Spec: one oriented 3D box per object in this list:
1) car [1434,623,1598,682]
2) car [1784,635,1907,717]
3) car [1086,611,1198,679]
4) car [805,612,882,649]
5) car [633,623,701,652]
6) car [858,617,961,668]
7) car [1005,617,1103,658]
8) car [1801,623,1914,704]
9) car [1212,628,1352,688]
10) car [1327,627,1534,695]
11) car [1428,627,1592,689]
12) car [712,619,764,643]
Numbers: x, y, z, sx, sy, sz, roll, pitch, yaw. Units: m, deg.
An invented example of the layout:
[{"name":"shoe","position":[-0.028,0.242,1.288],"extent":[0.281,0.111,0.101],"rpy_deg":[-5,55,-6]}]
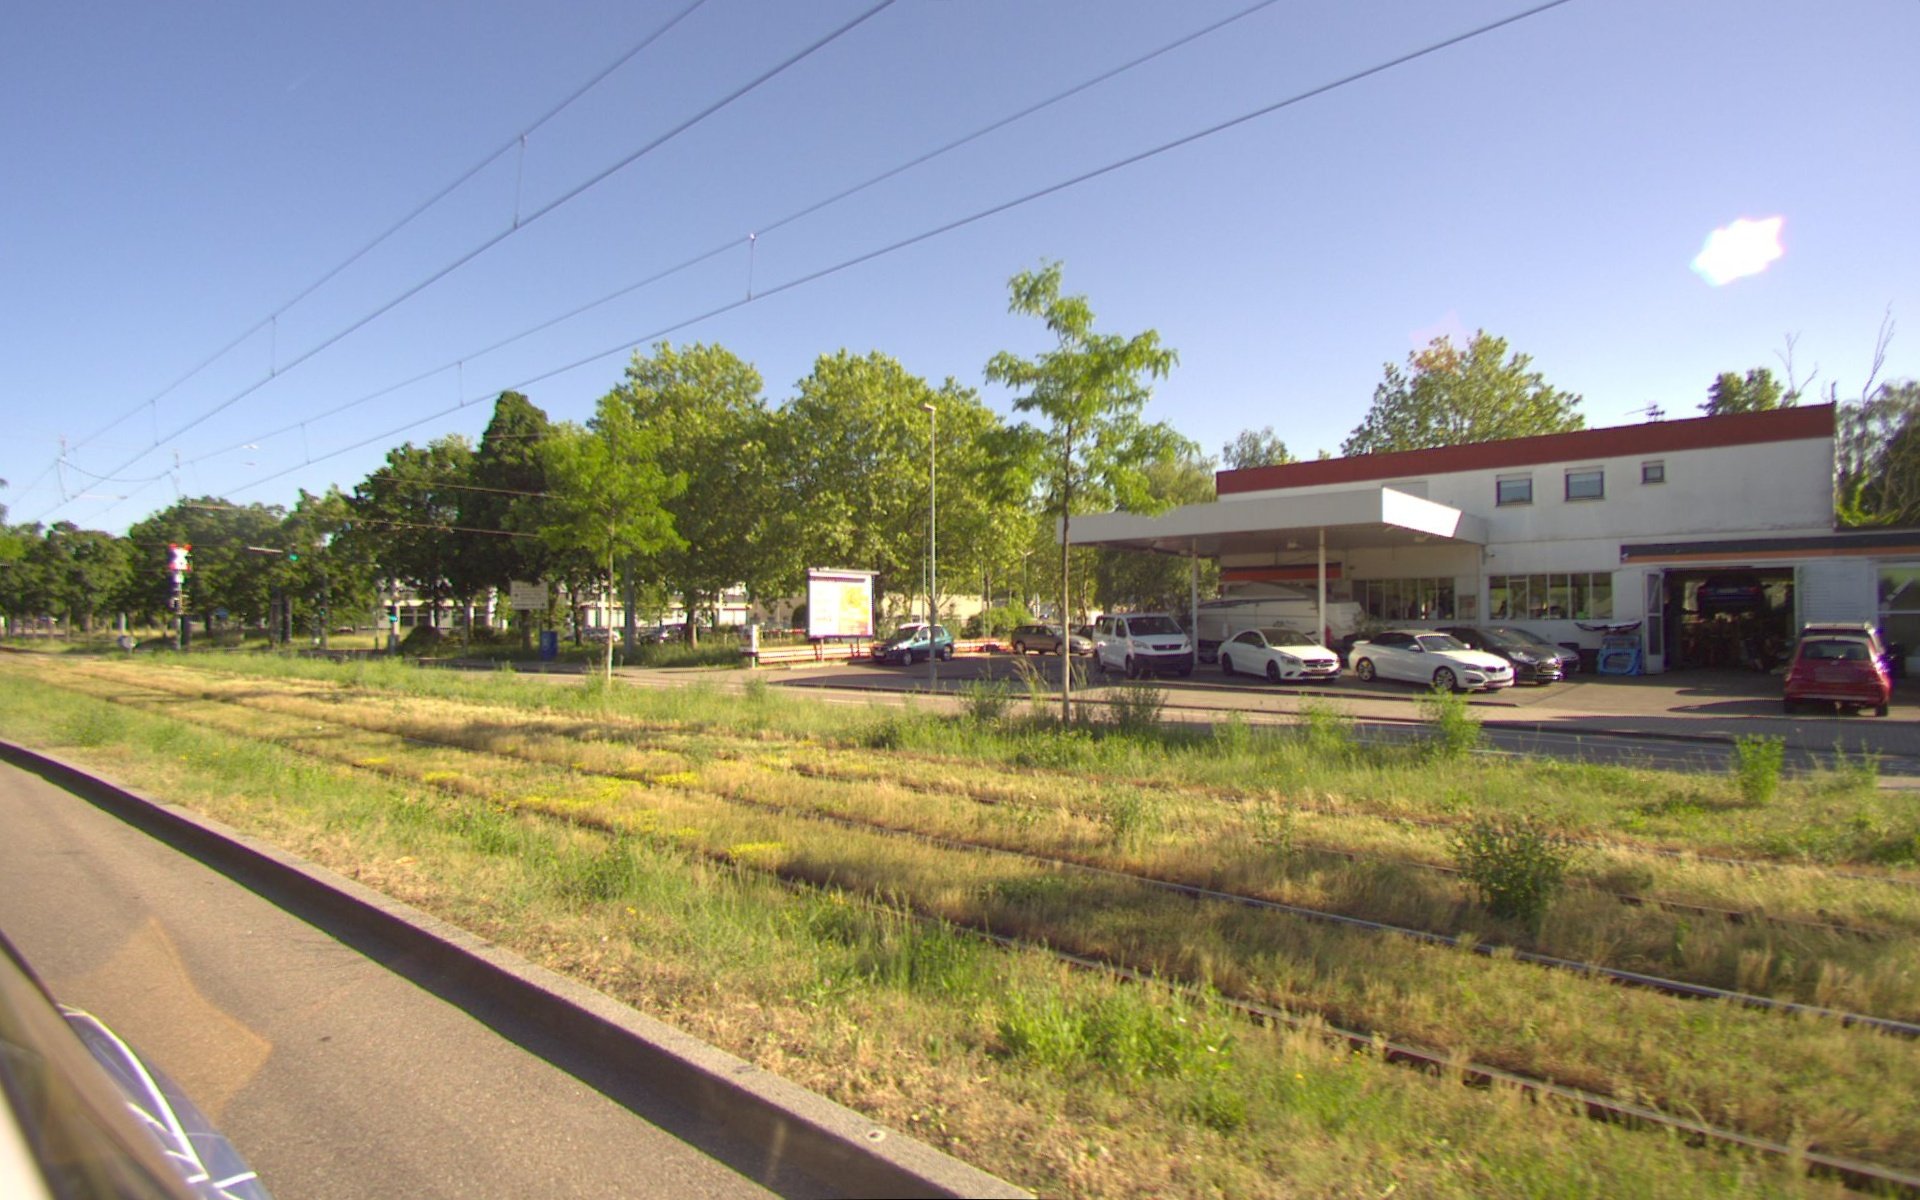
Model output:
[{"name":"car","position":[16.526,1.514,30.381],"extent":[1.994,1.562,4.311],"rpy_deg":[1,-1,-11]},{"name":"car","position":[17.956,1.474,20.659],"extent":[1.639,1.523,3.665],"rpy_deg":[-2,-3,38]},{"name":"car","position":[5.518,1.373,31.376],"extent":[1.868,1.925,4.819],"rpy_deg":[-1,-2,-9]},{"name":"car","position":[-6.460,1.679,56.386],"extent":[1.998,1.876,4.001],"rpy_deg":[-2,0,38]},{"name":"car","position":[-19.865,2.521,68.735],"extent":[1.998,1.840,4.001],"rpy_deg":[-1,0,39]},{"name":"car","position":[-2.066,1.724,42.316],"extent":[2.001,1.871,3.943],"rpy_deg":[-2,0,44]},{"name":"car","position":[4.445,1.783,48.372],"extent":[1.970,1.833,4.531],"rpy_deg":[2,-3,-44]},{"name":"car","position":[20.972,1.416,23.778],"extent":[1.703,1.646,3.709],"rpy_deg":[-2,-1,38]},{"name":"car","position":[8.908,1.550,28.439],"extent":[1.689,1.435,4.468],"rpy_deg":[-1,0,-13]},{"name":"car","position":[12.133,1.507,26.530],"extent":[1.992,1.519,4.905],"rpy_deg":[1,-1,-21]},{"name":"car","position":[14.947,1.530,27.773],"extent":[1.820,1.519,4.000],"rpy_deg":[1,-1,-11]},{"name":"car","position":[-19.126,2.619,87.322],"extent":[1.998,1.945,4.001],"rpy_deg":[-1,0,39]}]
